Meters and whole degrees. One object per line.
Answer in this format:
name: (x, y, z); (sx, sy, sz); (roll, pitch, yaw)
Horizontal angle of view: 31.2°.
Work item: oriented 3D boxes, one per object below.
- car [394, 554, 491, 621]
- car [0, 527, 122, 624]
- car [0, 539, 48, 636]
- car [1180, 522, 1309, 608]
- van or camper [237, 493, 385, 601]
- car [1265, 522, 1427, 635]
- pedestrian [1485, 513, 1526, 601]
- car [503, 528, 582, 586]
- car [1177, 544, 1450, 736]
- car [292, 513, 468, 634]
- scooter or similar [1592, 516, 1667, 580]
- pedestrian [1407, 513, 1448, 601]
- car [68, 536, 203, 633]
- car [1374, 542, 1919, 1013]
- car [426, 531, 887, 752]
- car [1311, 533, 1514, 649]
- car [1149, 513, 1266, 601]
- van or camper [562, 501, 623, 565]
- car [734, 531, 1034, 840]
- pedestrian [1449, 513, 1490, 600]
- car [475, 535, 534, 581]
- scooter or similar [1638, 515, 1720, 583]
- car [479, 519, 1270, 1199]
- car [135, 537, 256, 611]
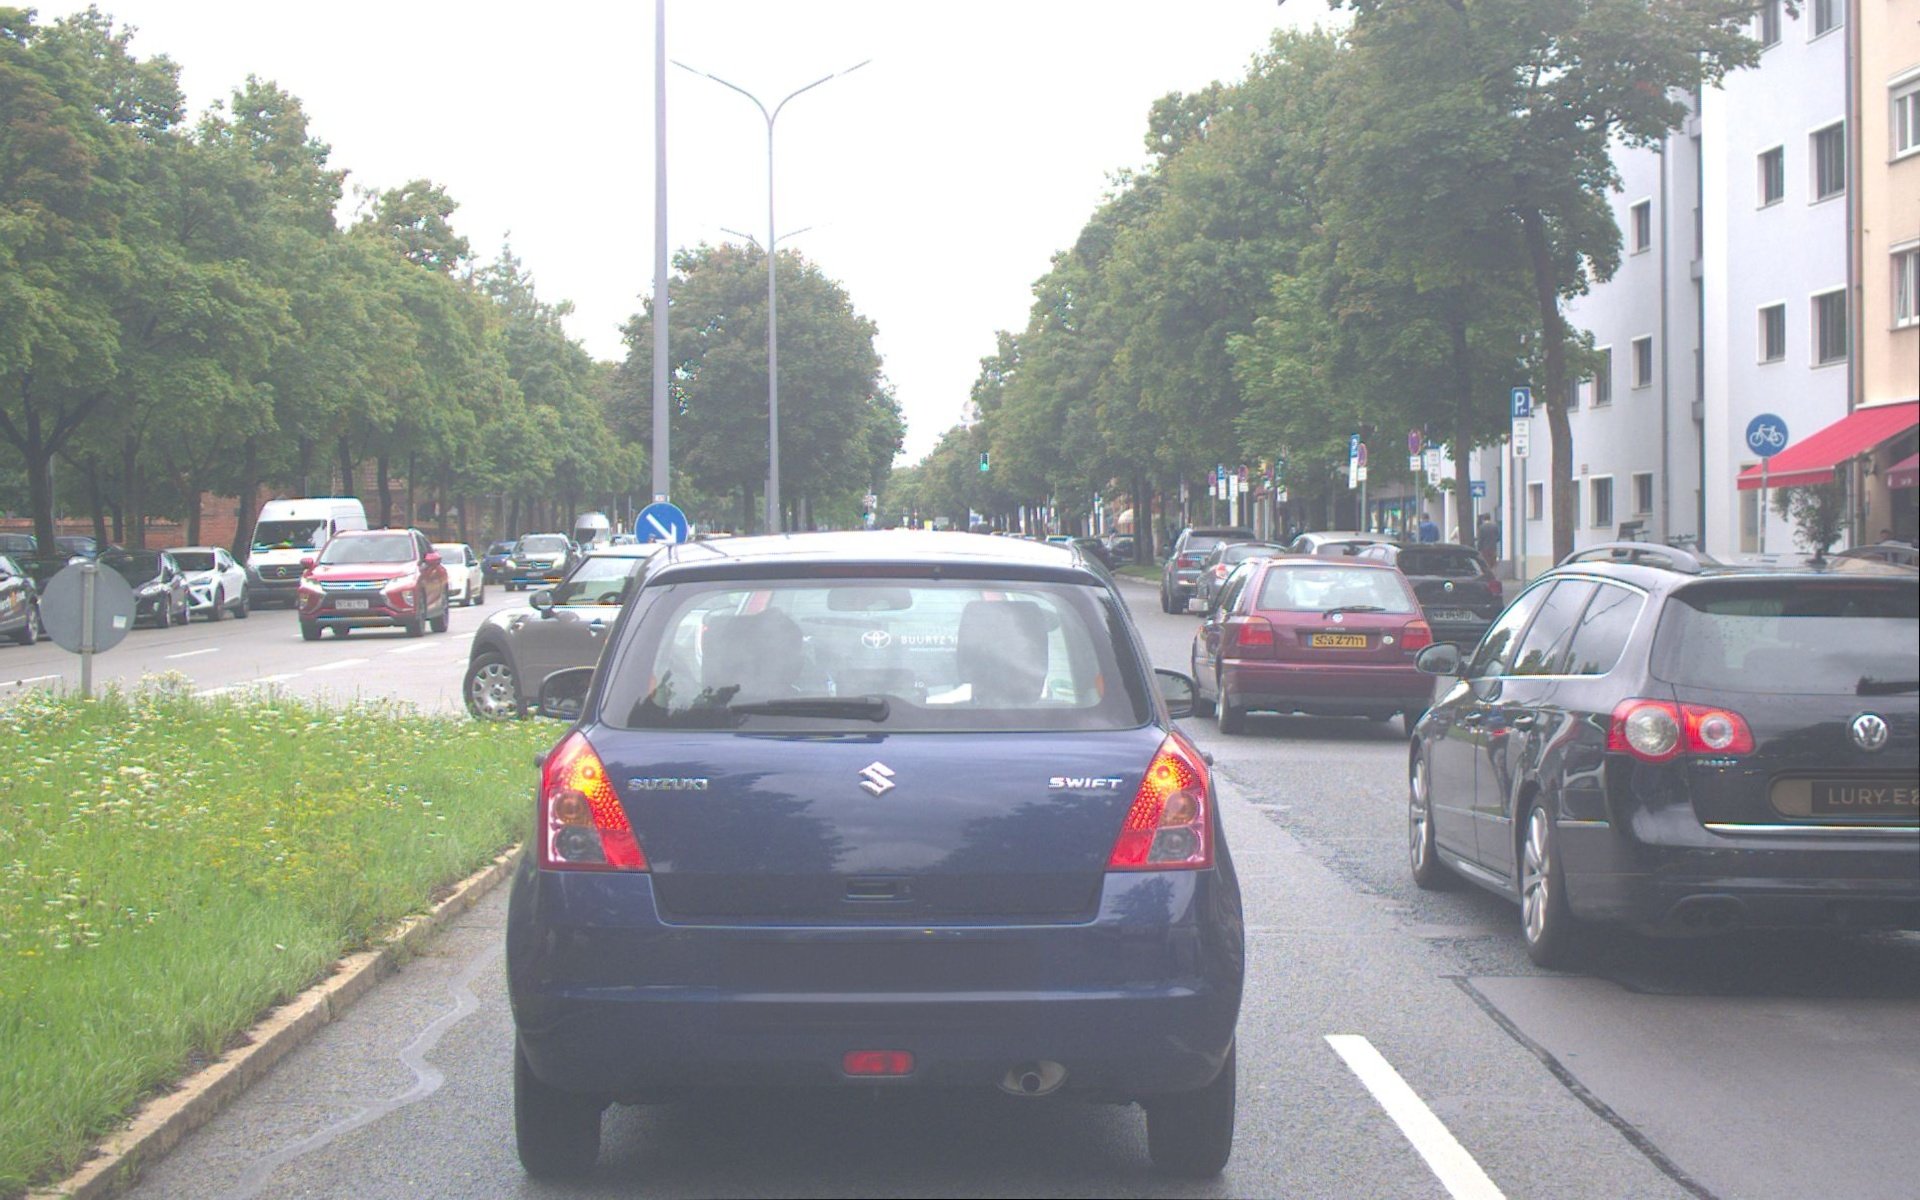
car: (-11.667, -0.300, 77.658); (1.618, 1.370, 3.838); (-2, 1, -1)
car: (-15.237, -0.433, 57.421); (1.590, 1.553, 3.879); (1, 1, -1)
car: (-15.123, -0.211, 52.074); (1.667, 1.440, 3.879); (1, 1, -1)
car: (5.215, -0.669, 63.484); (1.865, 1.512, 4.225); (-1, 1, -2)
van or camper: (-15.651, -1.291, 83.306); (2.117, 2.473, 7.449); (1, 1, 0)
car: (5.588, -0.347, 50.223); (1.791, 1.553, 4.225); (-1, 1, -1)
pedestrian: (12.561, -0.996, 79.143); (0.794, 2.007, 1.006); (0, 1, 0)
car: (-12.232, -1.278, 100.978); (1.766, 1.618, 4.507); (-2, 1, -1)
car: (2.741, 0.264, 27.428); (1.682, 1.379, 3.919); (1, 1, -1)
car: (-8.797, -0.431, 52.451); (1.904, 1.690, 4.245); (-2, 1, 0)
scooter or similar: (13.955, -1.087, 71.740); (1.033, 1.303, 2.755); (0, 1, 0)
pedestrian: (10.754, -1.002, 79.082); (0.794, 2.007, 1.006); (0, 1, 0)
car: (-15.267, -0.313, 63.801); (1.632, 1.735, 3.879); (1, 1, -1)
car: (2.775, 0.528, 13.014); (1.731, 1.427, 4.443); (1, 1, -2)
car: (-2.272, 0.237, 24.932); (1.682, 1.458, 3.733); (-1, 2, -35)
car: (5.924, -0.155, 45.451); (1.865, 1.412, 4.225); (-1, 1, -4)
car: (4.878, -0.878, 68.241); (1.865, 1.677, 4.225); (-1, 1, -2)
van or camper: (-19.223, -3.499, 180.031); (2.561, 3.284, 6.938); (1, 1, -1)
car: (-0.411, 0.386, 18.169); (1.444, 1.478, 3.107); (0, 1, -2)
pedestrian: (11.721, -1.006, 79.114); (0.794, 2.007, 1.006); (0, 1, 0)
car: (-16.129, -1.500, 121.844); (1.632, 1.577, 3.879); (1, 1, -1)
scooter or similar: (14.168, -1.017, 67.819); (1.033, 1.303, 2.755); (0, 1, 0)
car: (-0.237, 0.536, 9.285); (1.682, 1.496, 3.919); (0, 1, -2)
car: (-15.345, -0.546, 69.135); (1.632, 1.426, 3.879); (1, 1, -1)
